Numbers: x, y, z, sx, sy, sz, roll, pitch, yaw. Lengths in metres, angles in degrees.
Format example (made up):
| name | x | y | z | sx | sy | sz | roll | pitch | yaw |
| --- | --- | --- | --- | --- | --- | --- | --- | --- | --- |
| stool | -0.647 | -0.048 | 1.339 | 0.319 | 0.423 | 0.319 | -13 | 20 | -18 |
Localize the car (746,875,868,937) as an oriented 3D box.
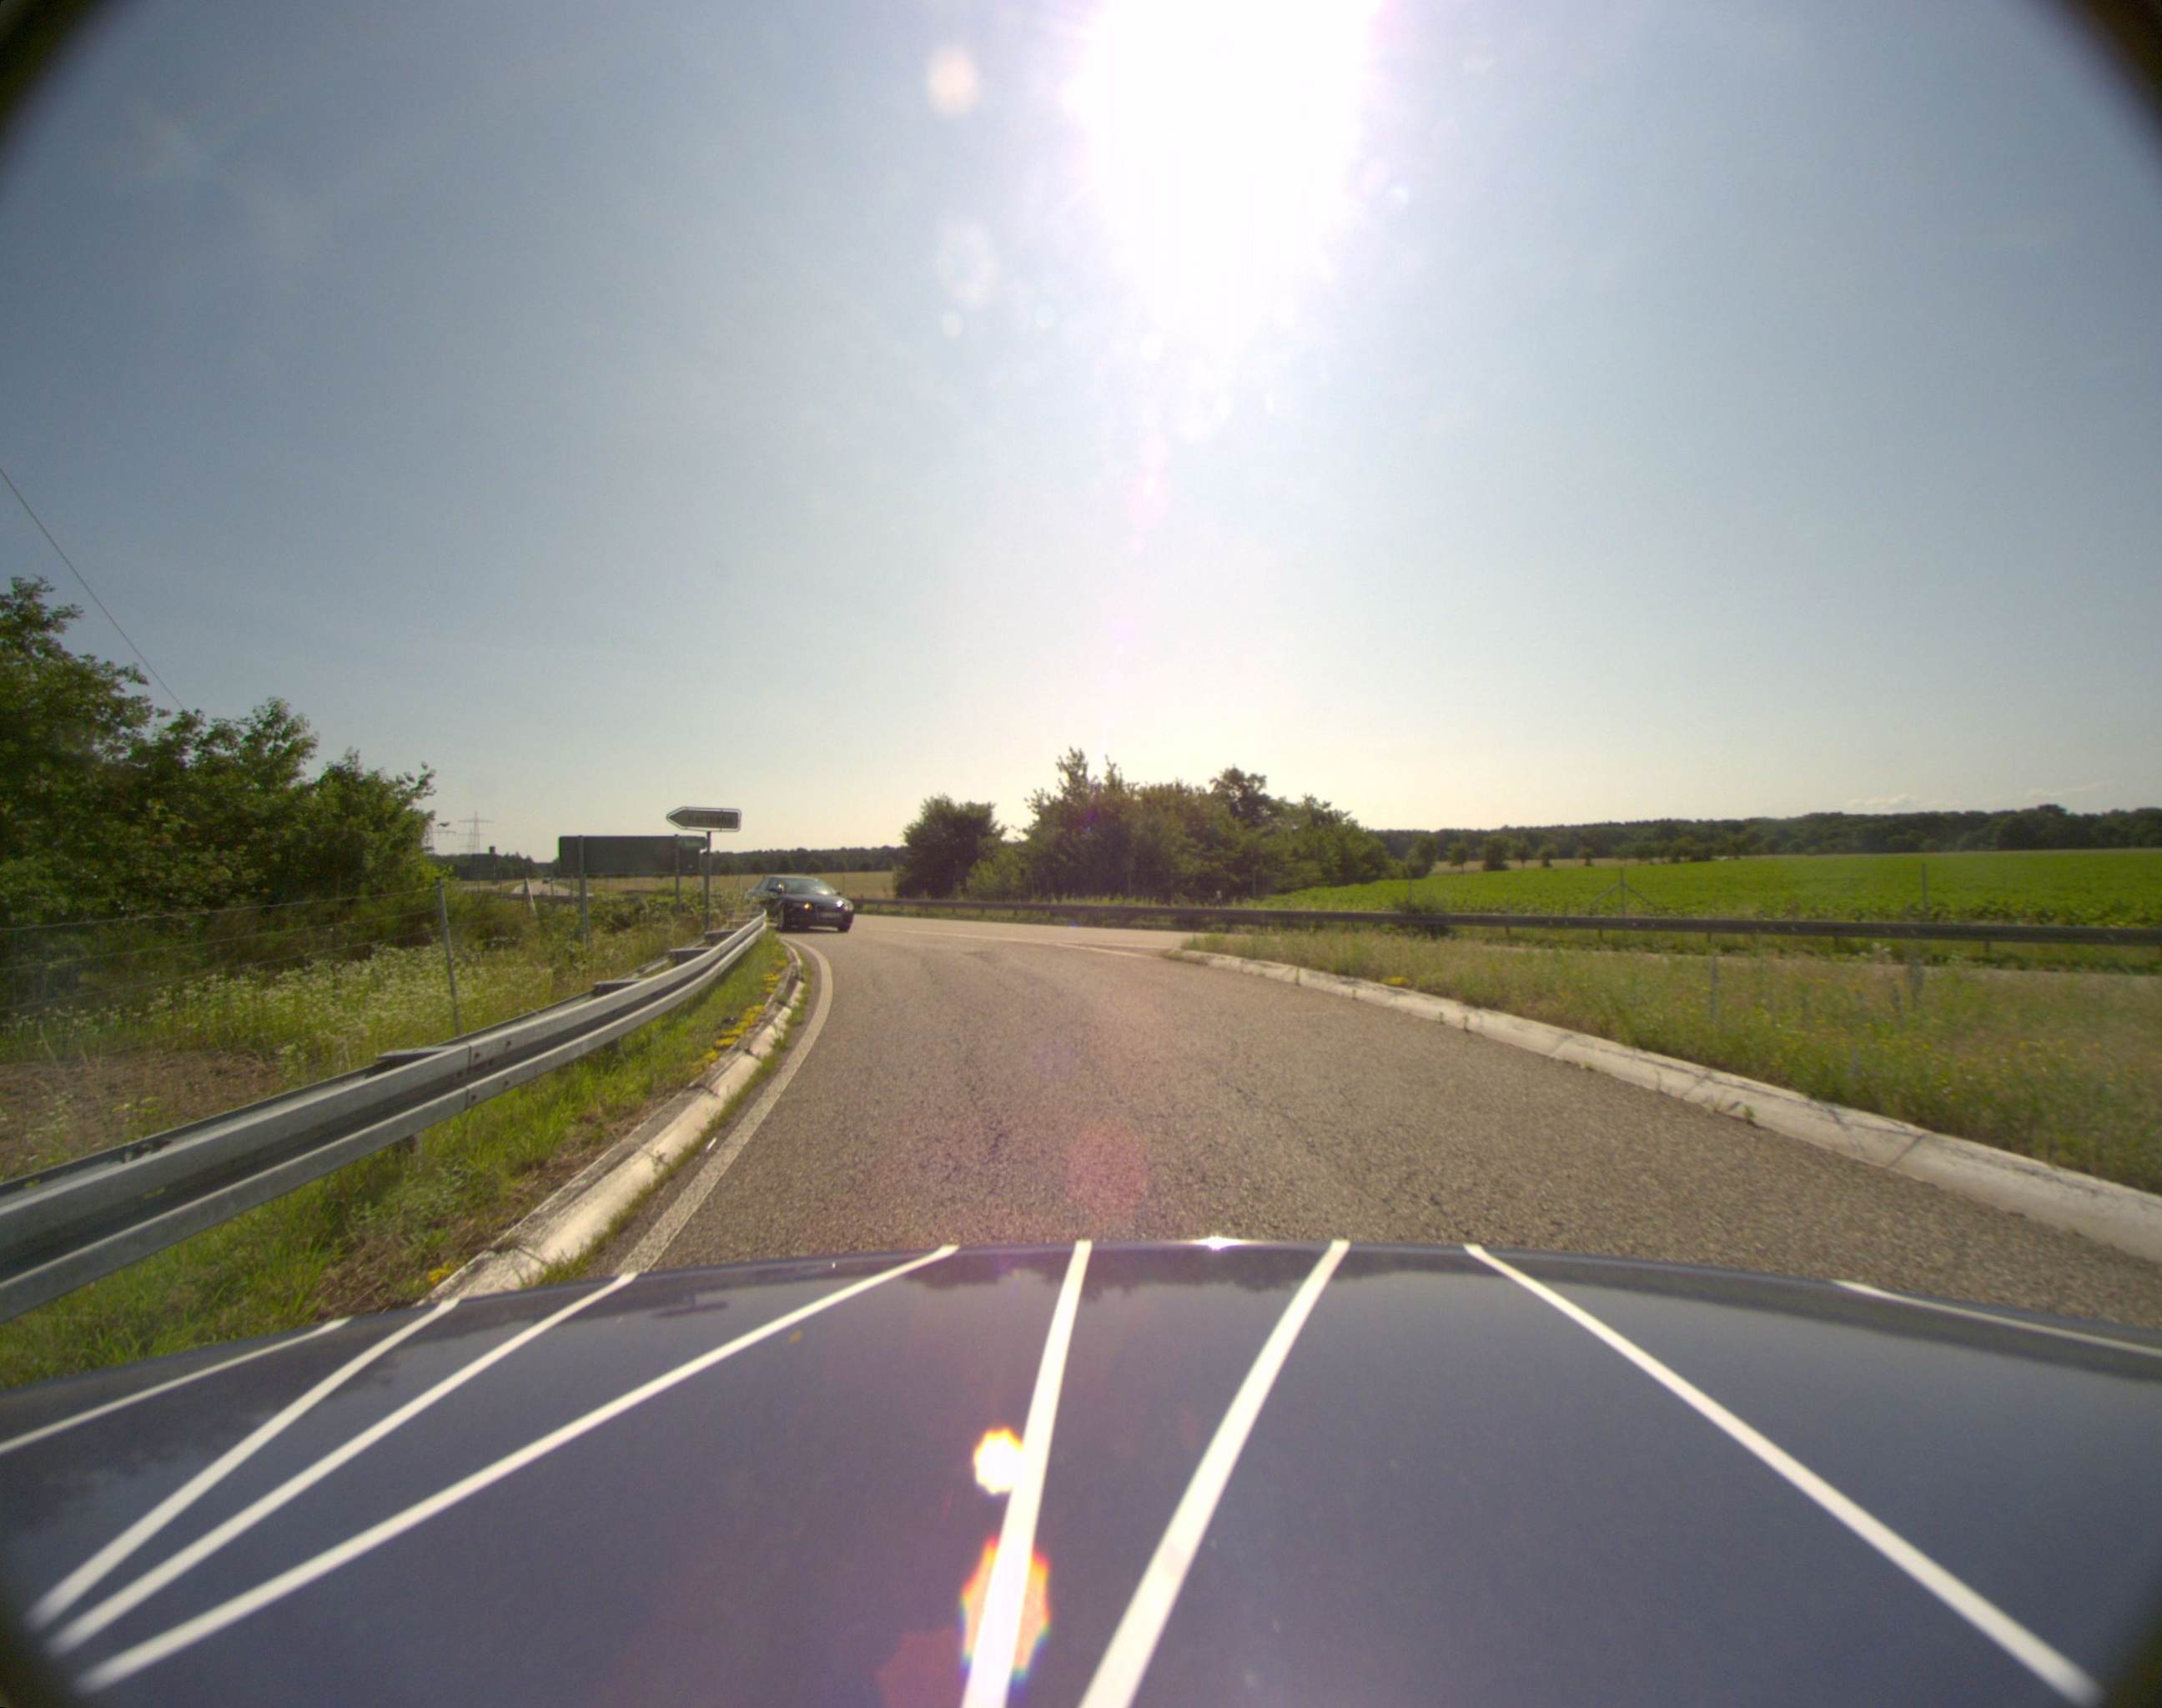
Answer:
| name | x | y | z | sx | sy | sz | roll | pitch | yaw |
| --- | --- | --- | --- | --- | --- | --- | --- | --- | --- |
| car | -7.260 | 1.315 | 19.925 | 1.892 | 1.447 | 4.065 | 3 | -3 | -36 |
